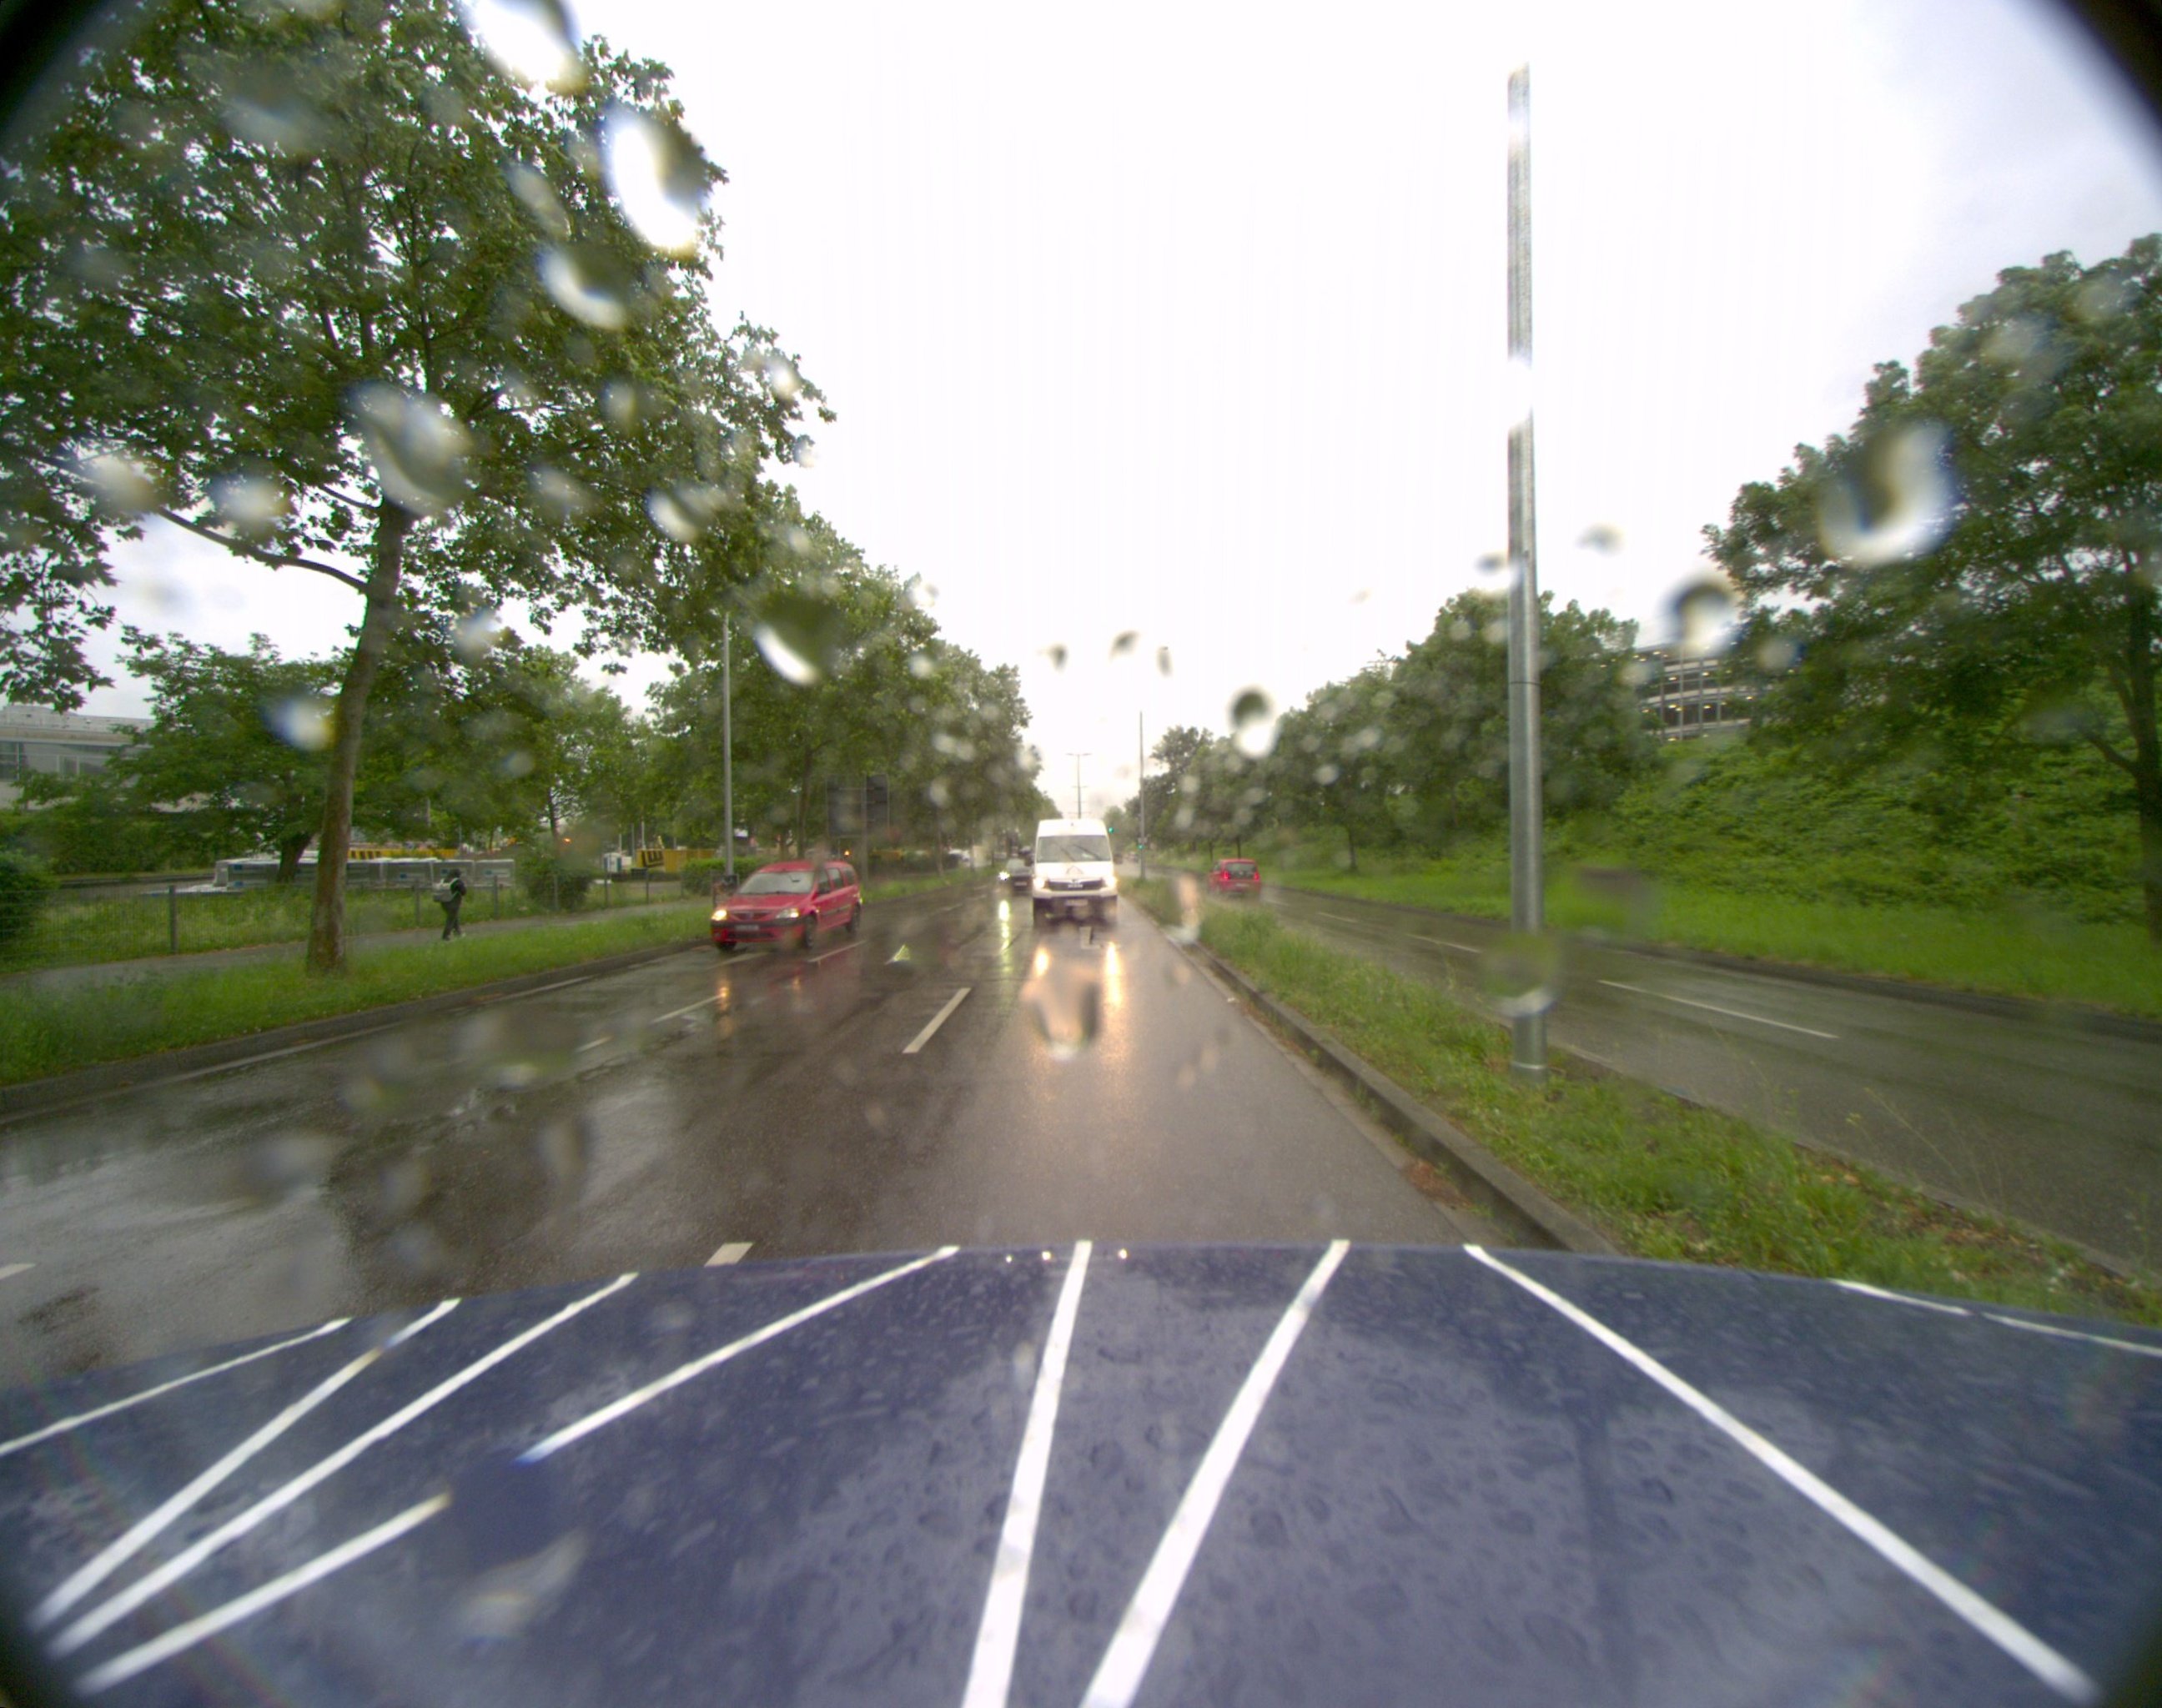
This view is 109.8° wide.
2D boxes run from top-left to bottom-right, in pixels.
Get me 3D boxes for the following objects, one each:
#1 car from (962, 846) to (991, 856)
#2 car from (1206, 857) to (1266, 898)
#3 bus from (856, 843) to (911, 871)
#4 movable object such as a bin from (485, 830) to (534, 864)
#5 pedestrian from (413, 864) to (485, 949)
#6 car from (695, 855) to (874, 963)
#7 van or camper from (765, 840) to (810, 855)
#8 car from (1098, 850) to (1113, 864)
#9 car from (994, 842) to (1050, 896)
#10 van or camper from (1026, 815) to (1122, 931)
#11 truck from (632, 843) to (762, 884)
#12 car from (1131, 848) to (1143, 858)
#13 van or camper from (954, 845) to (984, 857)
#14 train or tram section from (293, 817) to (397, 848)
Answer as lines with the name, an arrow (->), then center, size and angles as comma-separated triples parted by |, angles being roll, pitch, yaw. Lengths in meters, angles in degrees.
car -> -17.935, -0.513, 130.580 | 4.470, 1.663, 1.863 | -1, 1, -38
car -> 6.067, 0.885, 30.108 | 1.720, 1.504, 3.614 | 1, 0, 1
bus -> -19.367, 0.289, 74.586 | 4.804, 2.632, 2.000 | -1, 1, 1
movable object such as a bin -> -63.665, -0.780, 84.643 | 3.602, 3.605, 3.326 | 0, 2, 35
pedestrian -> -13.705, 1.115, 16.520 | 0.666, 1.752, 1.075 | -1, 1, -5
car -> -5.684, 0.946, 15.246 | 1.699, 1.759, 4.557 | -1, 1, 1
van or camper -> -65.920, -1.511, 170.797 | 8.994, 3.140, 2.979 | -3, 3, -35
car -> 3.107, 0.333, 94.868 | 1.828, 1.566, 4.359 | 1, 2, 3
car -> -2.479, 0.586, 33.242 | 1.935, 2.120, 4.557 | -2, 1, 1
van or camper -> -0.112, 0.410, 19.604 | 2.100, 2.580, 4.775 | -2, 1, 1
truck -> -33.035, 0.707, 65.642 | 9.517, 3.015, 3.073 | -3, 3, -35
car -> 9.382, -0.181, 126.928 | 1.700, 1.608, 3.847 | -1, 1, 1
van or camper -> -19.634, -0.540, 133.626 | 4.918, 2.076, 1.863 | -1, 1, -38
train or tram section -> -86.405, -2.557, 89.458 | 8.385, 3.500, 2.393 | -3, 3, -38
